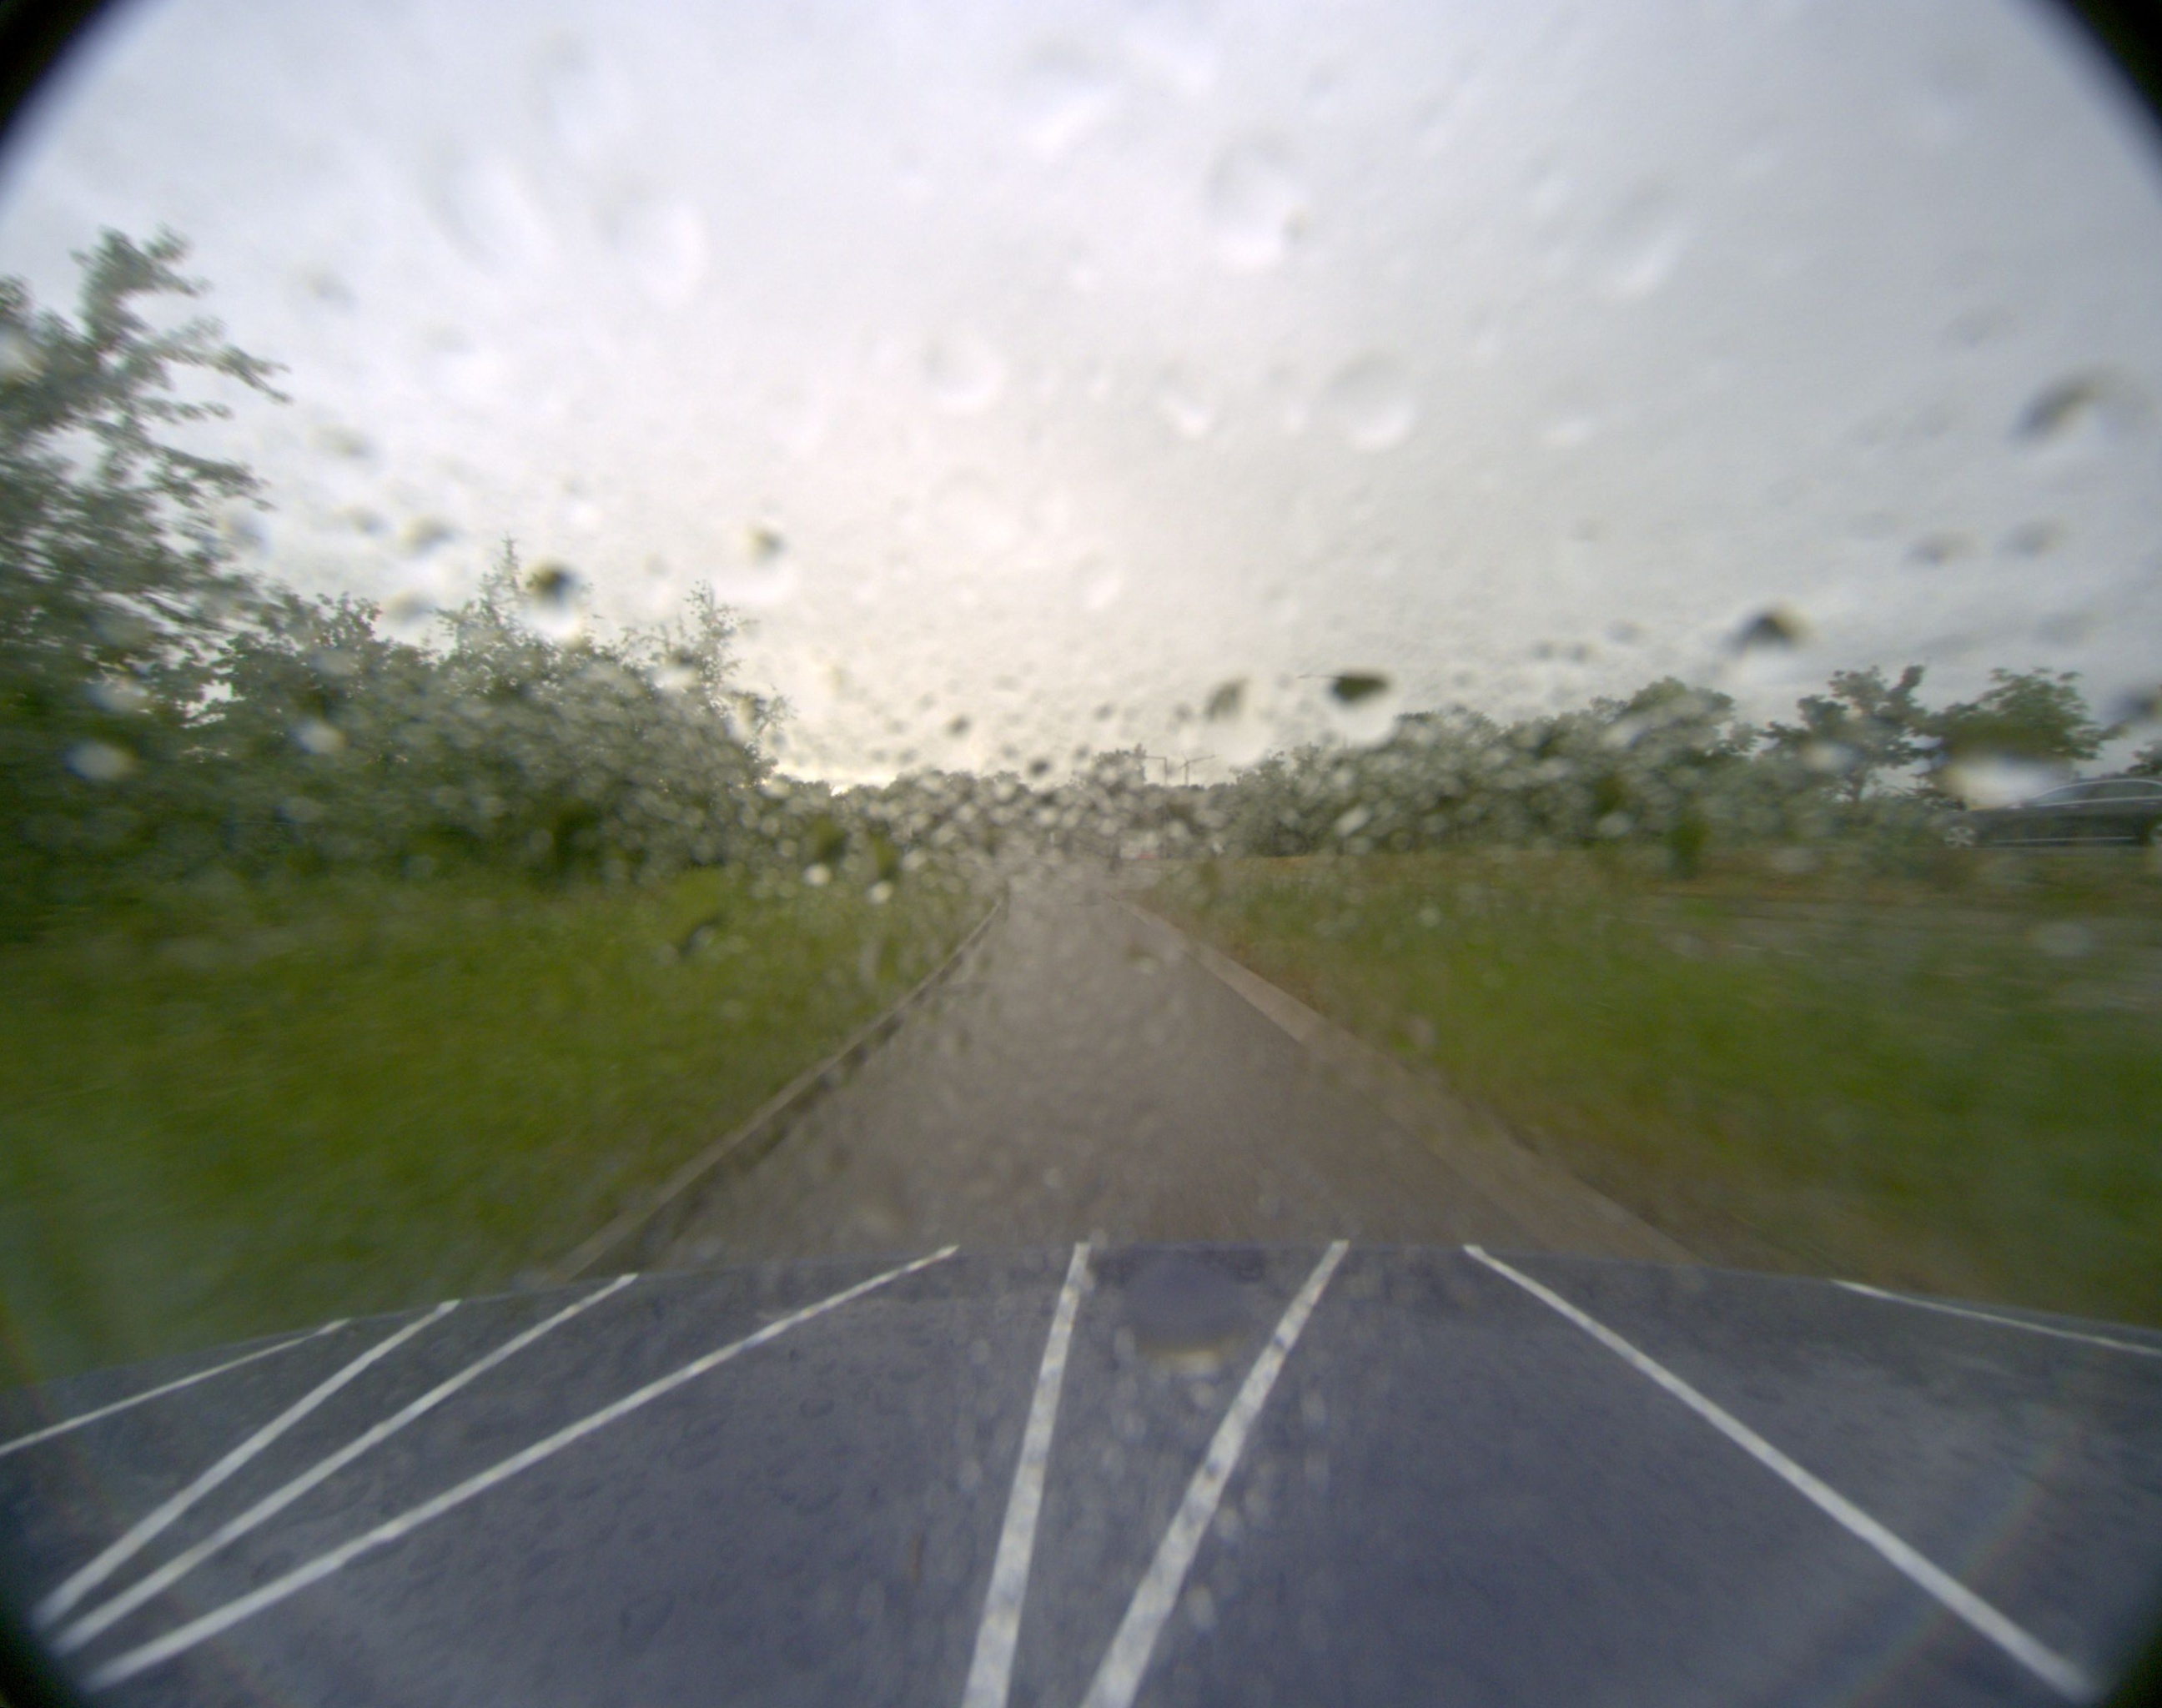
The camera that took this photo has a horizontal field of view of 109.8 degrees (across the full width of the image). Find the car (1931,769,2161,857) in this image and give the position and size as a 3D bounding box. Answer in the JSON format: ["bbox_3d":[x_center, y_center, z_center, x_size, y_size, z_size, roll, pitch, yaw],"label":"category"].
[{"bbox_3d":[20.183,-0.786,14.853,1.696,1.559,4.539,-4,0,-7],"label":"car"}]
